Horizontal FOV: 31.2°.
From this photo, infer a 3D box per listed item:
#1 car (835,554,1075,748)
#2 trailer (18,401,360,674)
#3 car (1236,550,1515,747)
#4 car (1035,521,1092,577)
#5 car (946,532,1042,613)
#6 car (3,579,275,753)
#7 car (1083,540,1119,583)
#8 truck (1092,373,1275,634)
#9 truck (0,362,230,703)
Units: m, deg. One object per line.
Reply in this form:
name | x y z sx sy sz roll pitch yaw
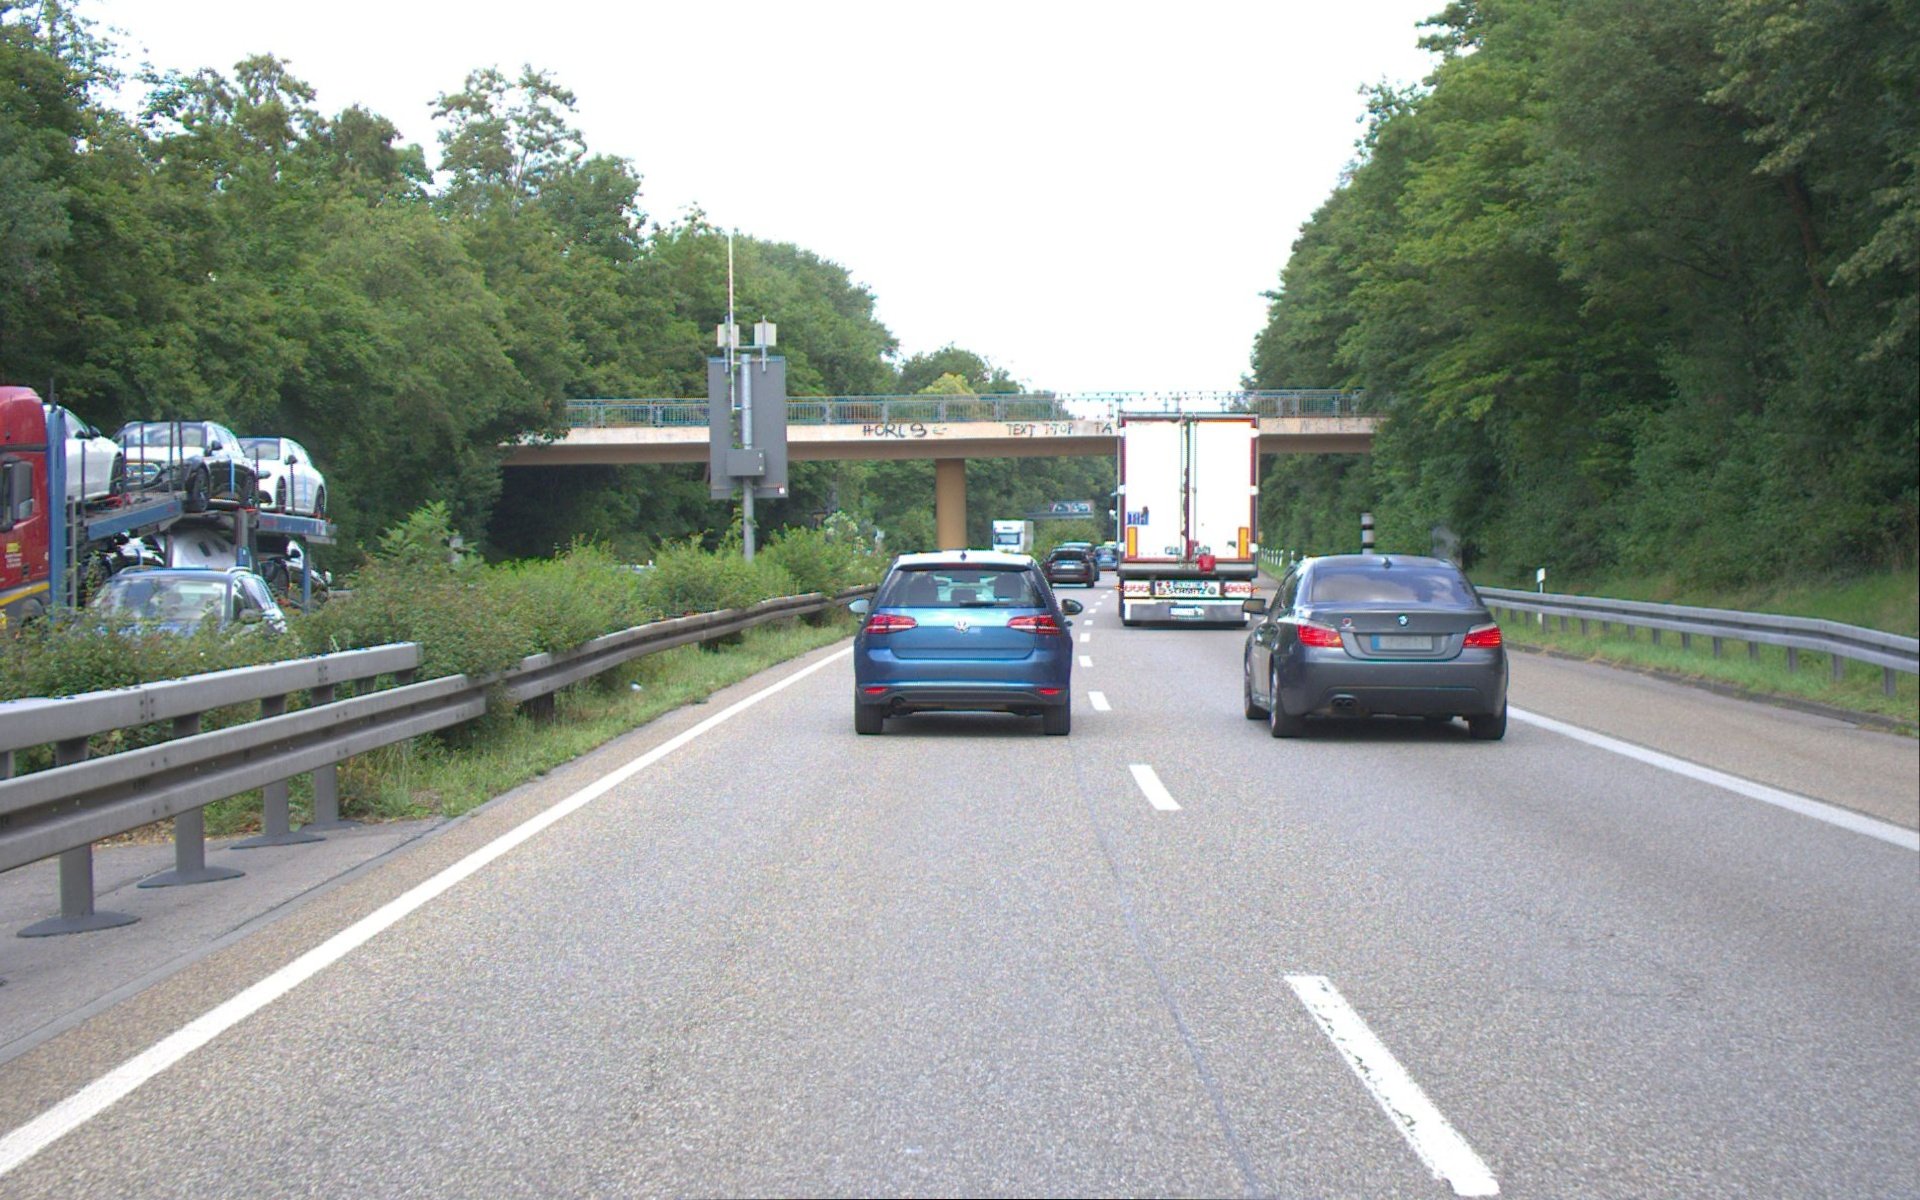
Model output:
car | 0.023 0.368 28.577 1.705 1.465 4.000 0 1 4
trailer | -11.923 -0.989 54.316 2.938 3.820 10.311 -2 1 0
car | 3.316 0.352 28.280 1.774 1.470 4.880 0 0 1
car | 3.868 -1.917 128.061 1.954 2.007 4.000 -1 1 4
car | 0.672 -0.553 65.668 1.665 1.495 4.152 0 1 3
car | -8.124 0.608 34.358 1.674 1.546 4.263 -1 1 0
car | 8.067 -2.219 197.097 1.993 2.319 4.442 -1 1 2
truck | 4.354 -1.886 68.316 3.242 4.700 11.006 -1 1 3
truck | -12.006 -0.818 44.049 2.955 3.842 10.324 -2 1 0
